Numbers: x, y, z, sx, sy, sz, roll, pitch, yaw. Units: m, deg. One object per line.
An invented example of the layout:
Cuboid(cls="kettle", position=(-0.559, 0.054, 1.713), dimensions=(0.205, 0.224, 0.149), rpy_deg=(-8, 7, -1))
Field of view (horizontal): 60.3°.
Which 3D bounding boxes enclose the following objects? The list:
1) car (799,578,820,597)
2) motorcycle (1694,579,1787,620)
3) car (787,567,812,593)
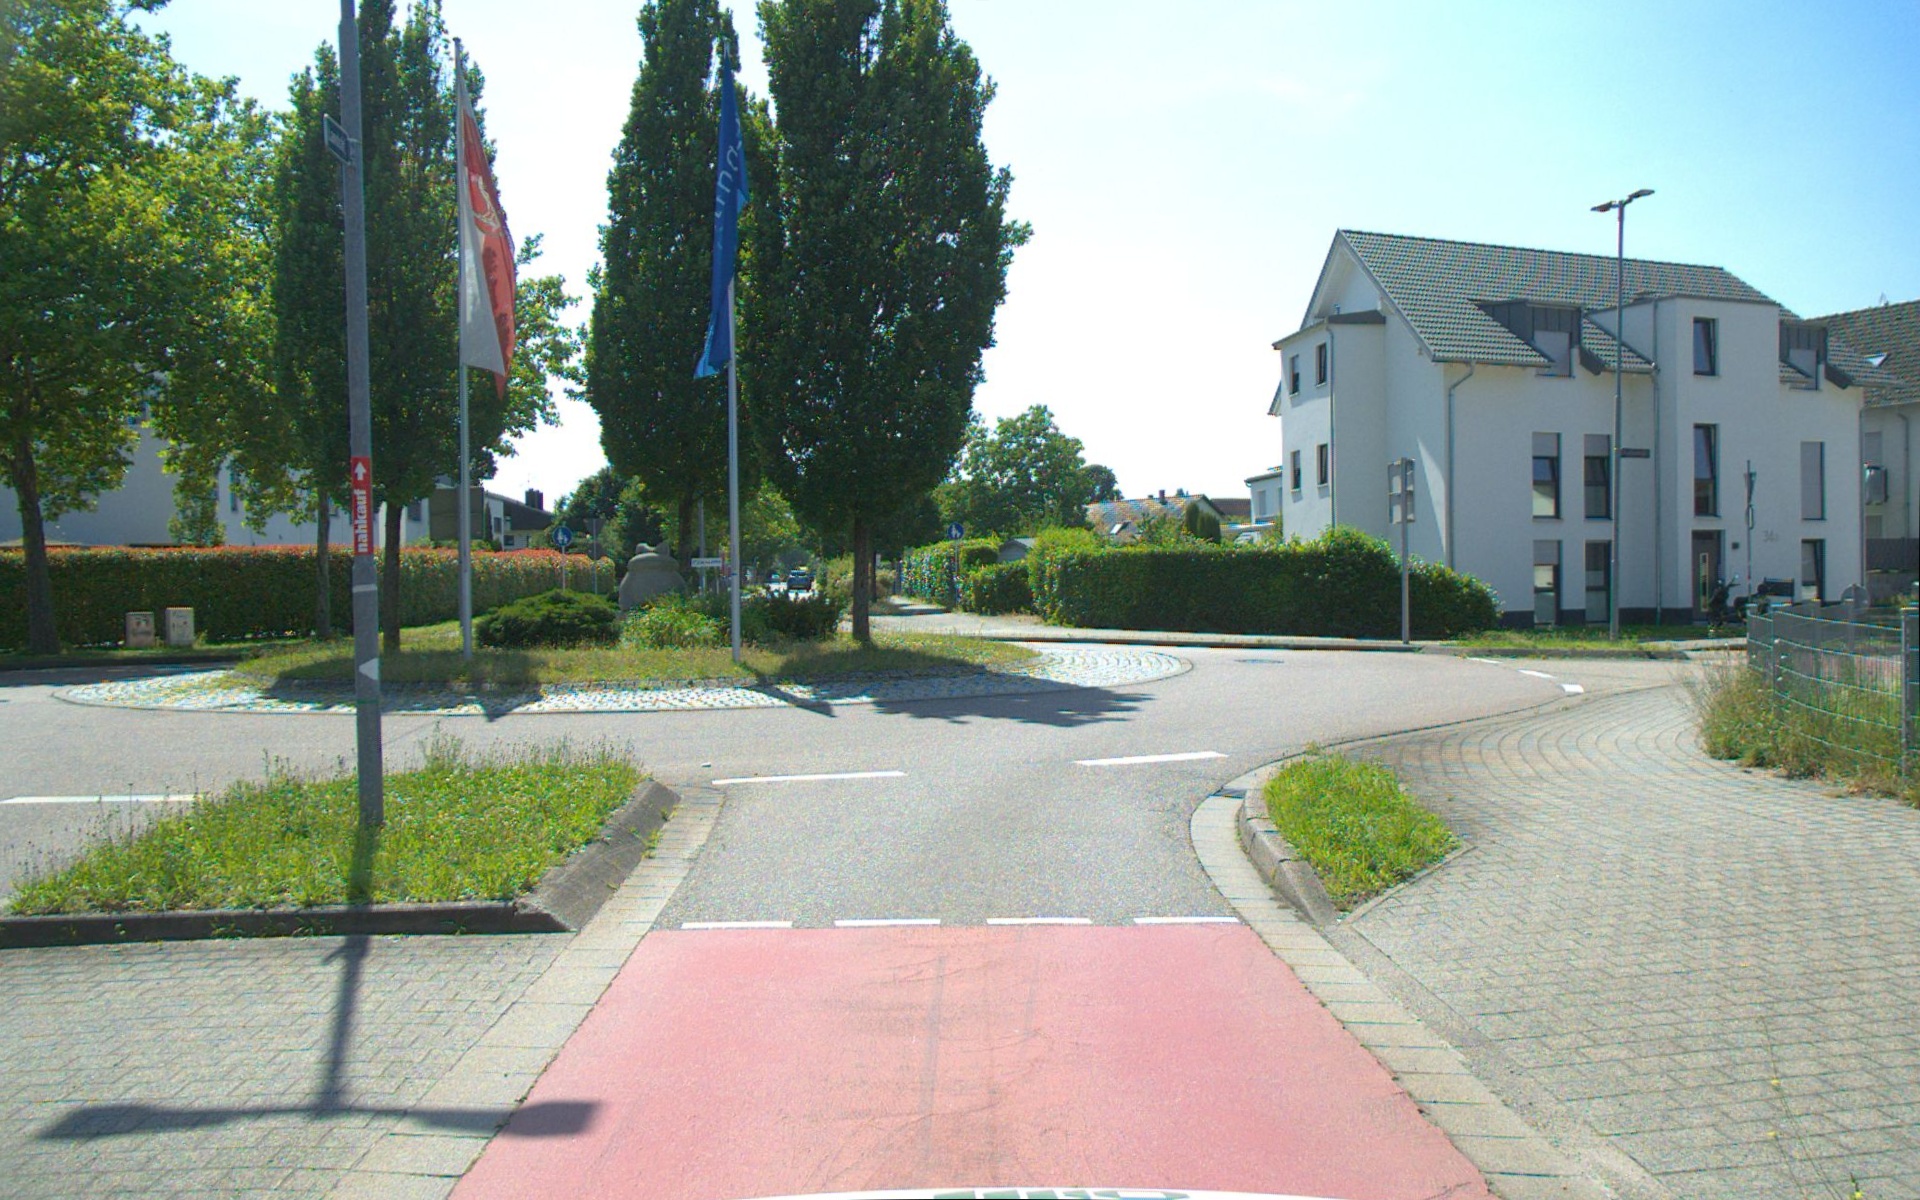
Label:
Cuboid(cls="car", position=(-14.685, -1.248, 161.200), dimensions=(1.954, 1.801, 3.996), rpy_deg=(1, 0, -5))
Cuboid(cls="motorcycle", position=(20.235, -0.031, 42.949), dimensions=(0.660, 1.031, 2.353), rpy_deg=(1, 0, -22))
Cuboid(cls="car", position=(-12.358, -1.530, 127.167), dimensions=(1.886, 1.919, 3.995), rpy_deg=(1, 0, -6))
